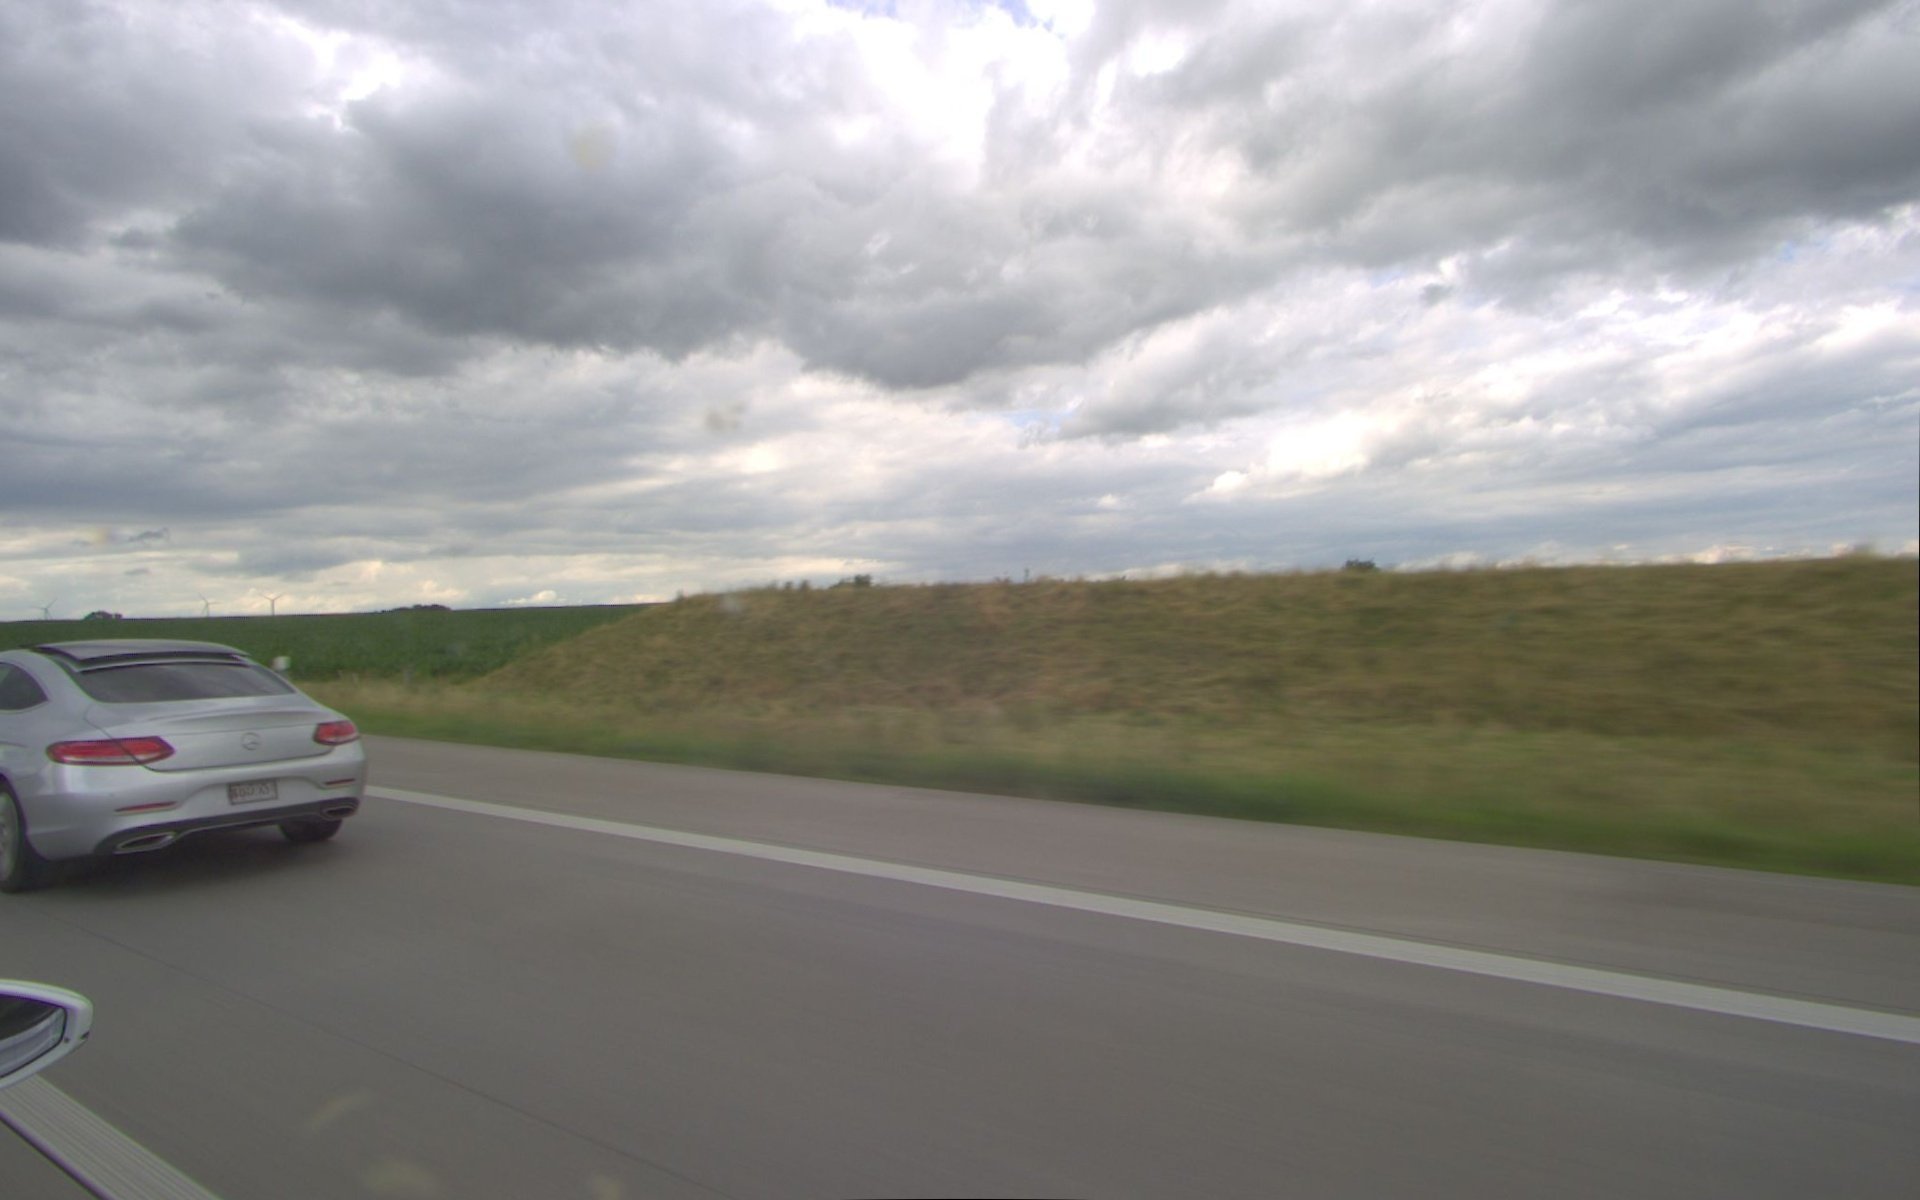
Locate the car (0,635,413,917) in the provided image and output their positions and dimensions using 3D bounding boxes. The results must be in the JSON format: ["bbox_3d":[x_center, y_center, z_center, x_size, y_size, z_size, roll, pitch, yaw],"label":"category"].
[{"bbox_3d":[-5.856,0.970,6.969,4.160,1.421,1.786,-2,-2,32],"label":"car"}]
